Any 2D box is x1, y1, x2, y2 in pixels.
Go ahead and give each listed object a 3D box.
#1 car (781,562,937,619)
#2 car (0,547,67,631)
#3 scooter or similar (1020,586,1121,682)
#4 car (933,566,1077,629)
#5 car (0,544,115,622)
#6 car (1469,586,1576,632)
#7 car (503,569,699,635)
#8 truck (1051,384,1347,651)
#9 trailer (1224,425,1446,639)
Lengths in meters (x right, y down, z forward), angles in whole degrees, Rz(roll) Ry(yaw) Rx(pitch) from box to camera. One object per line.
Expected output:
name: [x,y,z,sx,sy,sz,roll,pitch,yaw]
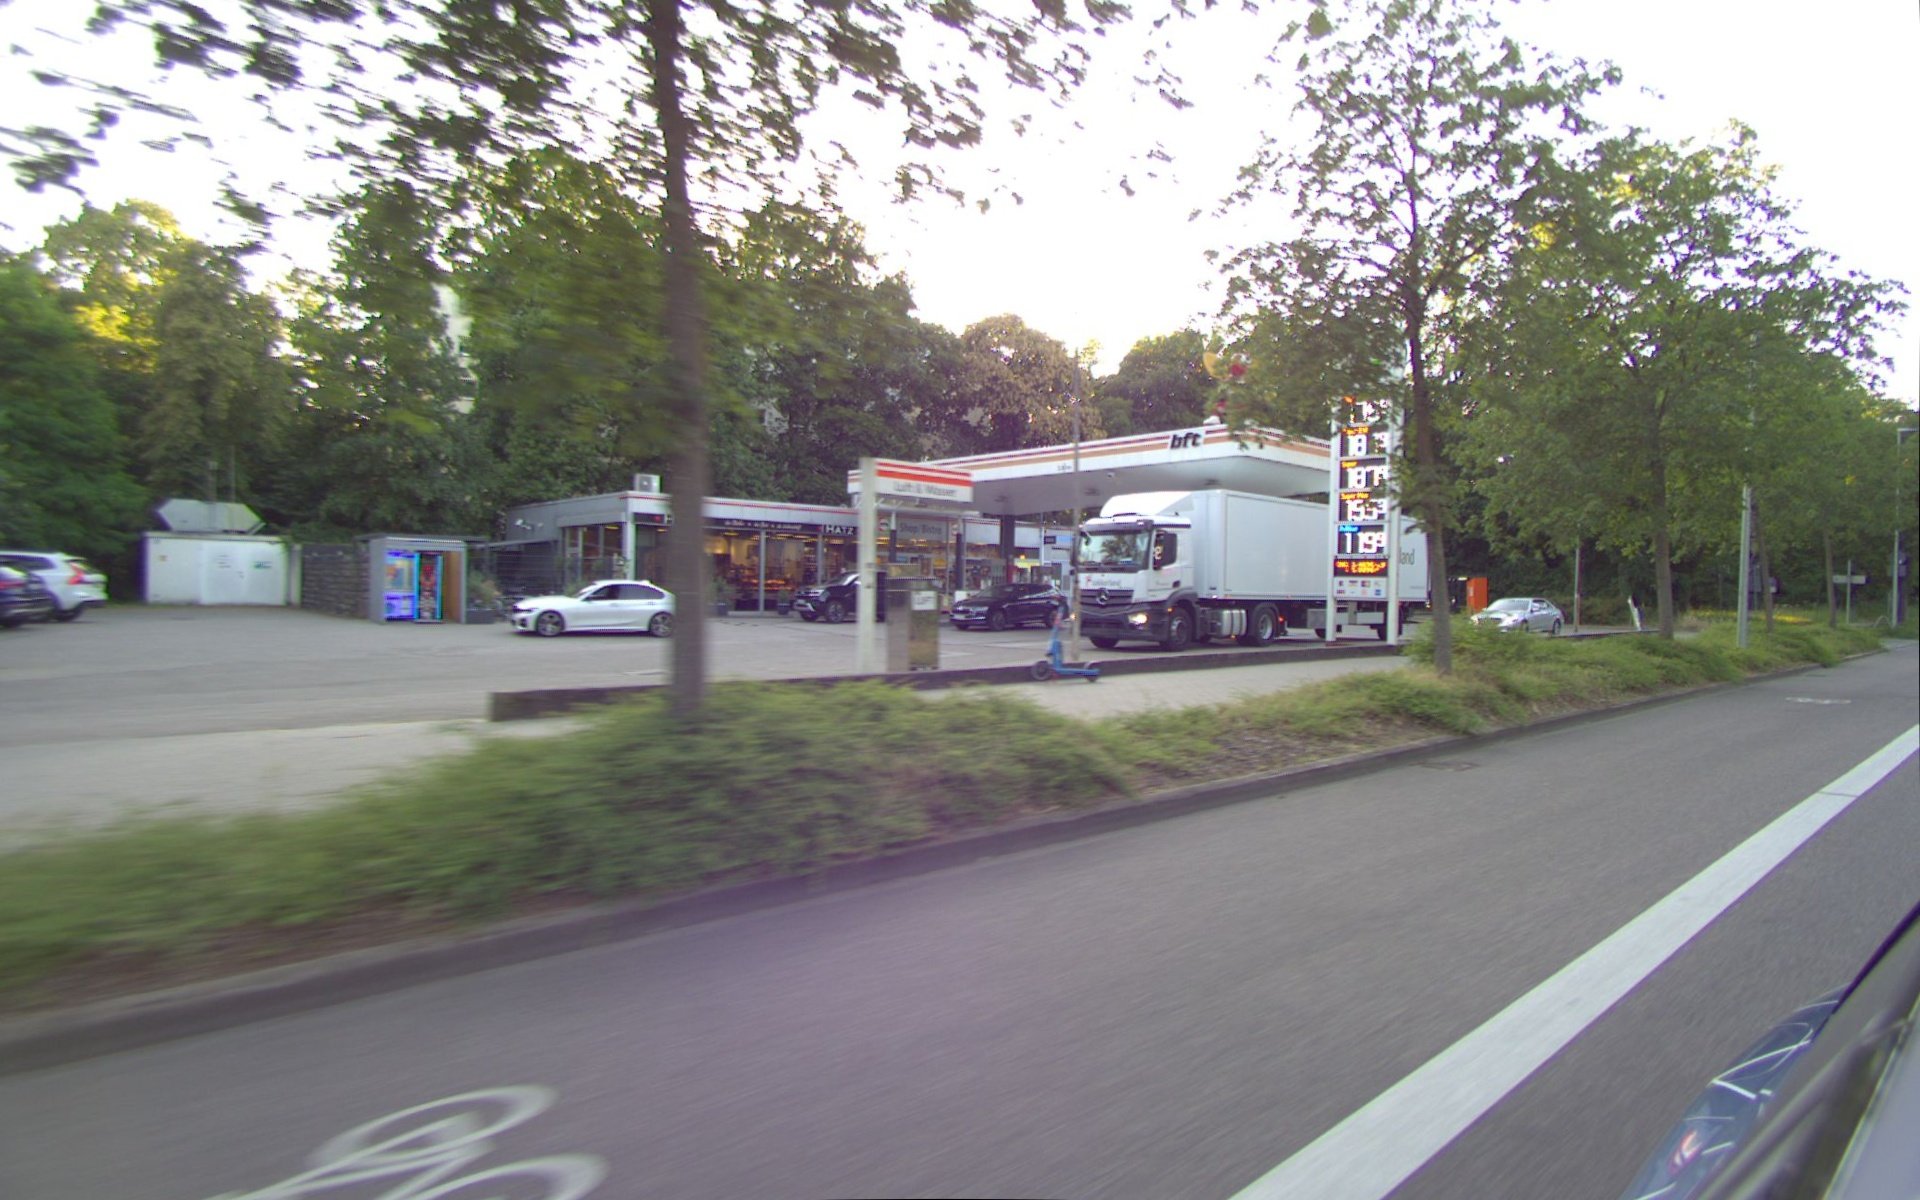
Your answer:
car: [-3.538,-0.337,36.159,5.405,1.888,1.952,0,1,-41]
car: [-21.730,-0.324,21.124,4.195,1.657,1.898,3,2,-19]
scooter or similar: [1.593,0.459,14.443,1.443,1.298,0.599,0,1,-41]
car: [1.507,-0.150,32.431,4.594,1.888,1.875,-2,2,-41]
car: [-23.019,-0.433,23.729,4.601,1.728,1.928,1,3,-27]
car: [20.998,0.332,37.702,4.730,1.604,1.774,0,0,-38]
car: [-9.469,0.045,26.783,4.605,1.537,1.794,0,3,-32]
truck: [6.150,-1.747,24.975,8.269,5.524,3.036,0,1,-43]
trailer: [11.268,-1.756,29.927,7.802,5.531,3.023,1,0,-44]
